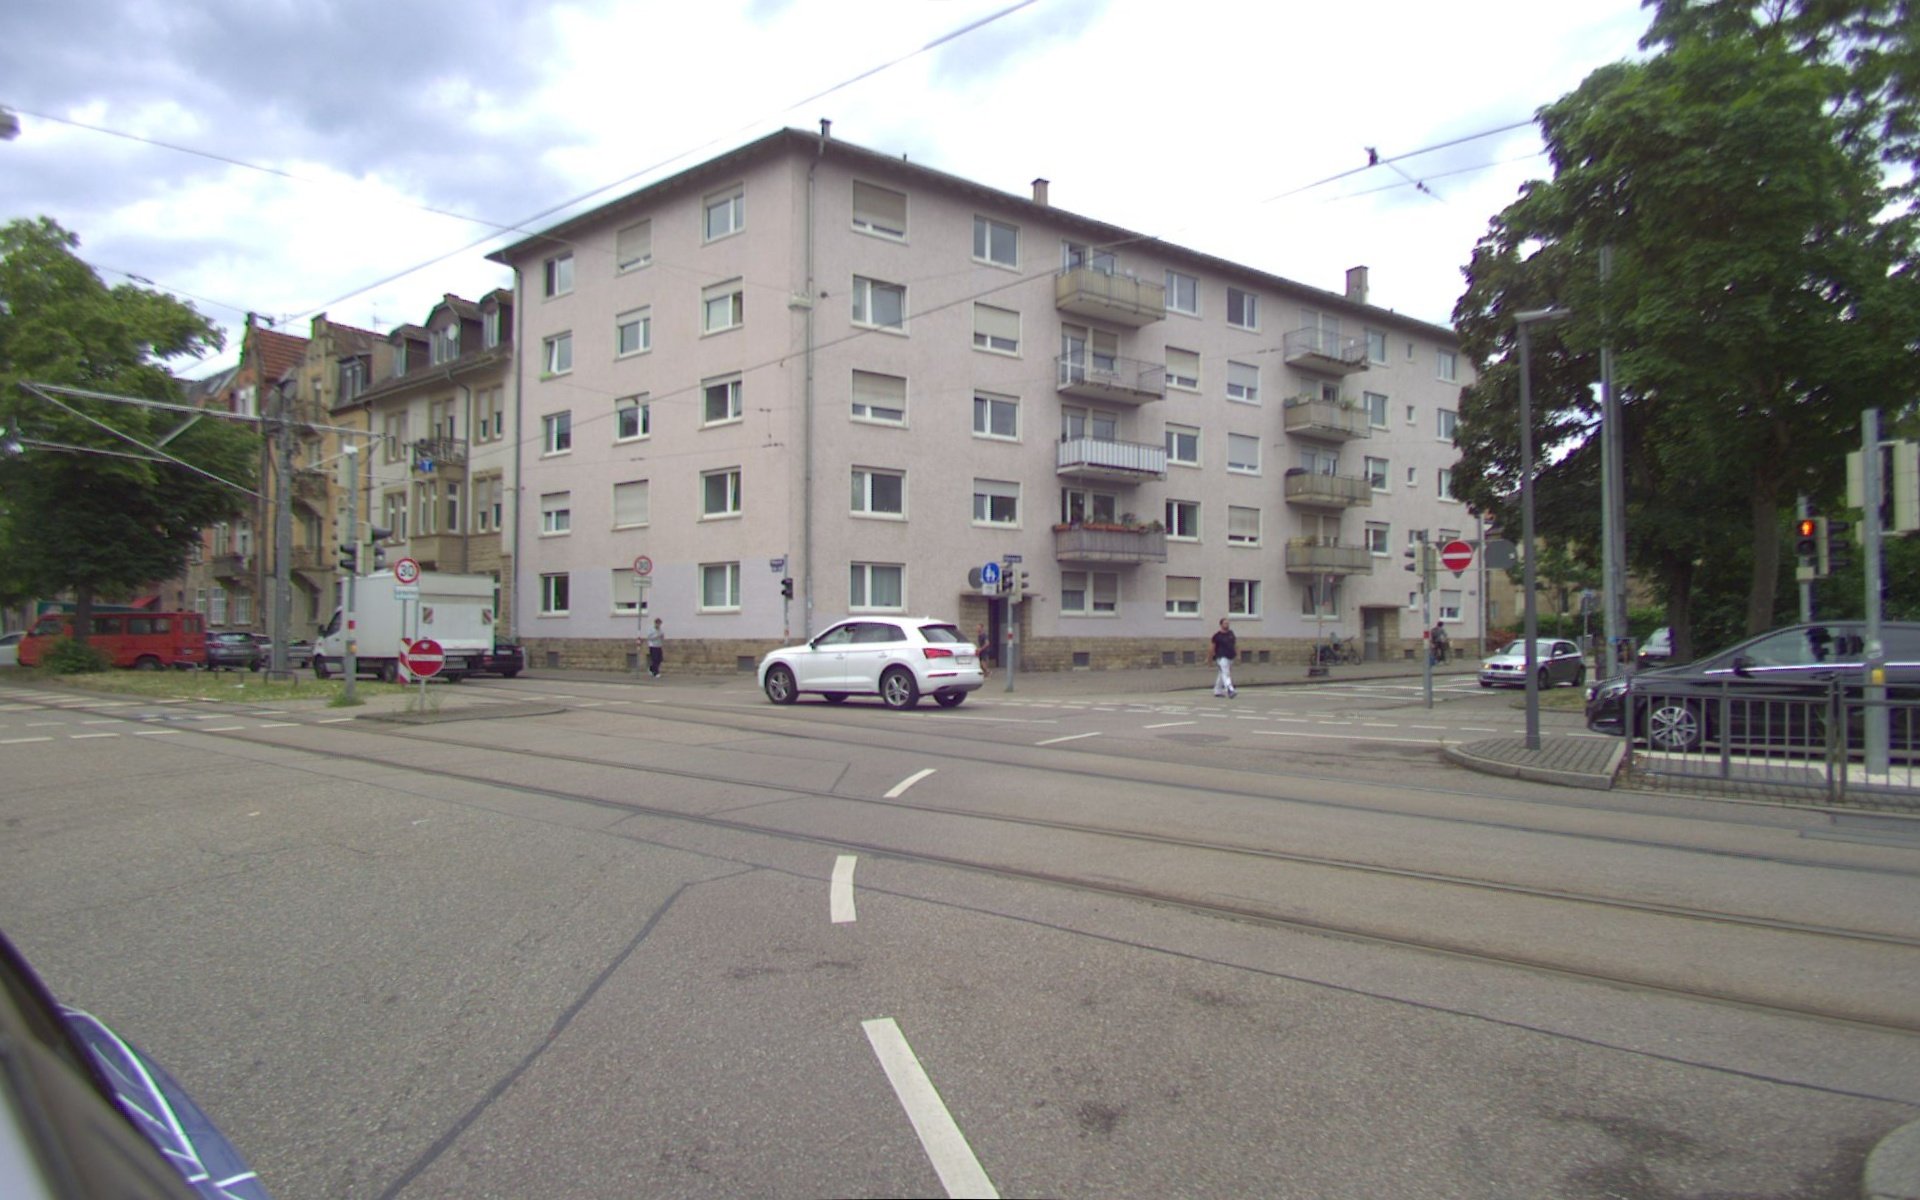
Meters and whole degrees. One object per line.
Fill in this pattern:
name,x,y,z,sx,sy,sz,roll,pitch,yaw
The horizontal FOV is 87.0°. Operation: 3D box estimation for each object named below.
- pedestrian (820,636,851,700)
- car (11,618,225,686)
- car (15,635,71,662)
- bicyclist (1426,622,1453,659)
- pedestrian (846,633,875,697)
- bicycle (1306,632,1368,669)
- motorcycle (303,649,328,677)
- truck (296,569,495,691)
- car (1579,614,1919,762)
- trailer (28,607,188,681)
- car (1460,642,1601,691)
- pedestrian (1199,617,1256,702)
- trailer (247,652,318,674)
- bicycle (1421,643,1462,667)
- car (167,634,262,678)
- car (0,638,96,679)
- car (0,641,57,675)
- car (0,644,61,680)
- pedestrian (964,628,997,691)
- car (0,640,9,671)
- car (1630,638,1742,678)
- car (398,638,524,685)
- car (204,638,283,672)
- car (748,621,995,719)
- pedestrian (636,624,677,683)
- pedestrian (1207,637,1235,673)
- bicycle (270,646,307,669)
pedestrian,-3.140,1.708,25.539,0.562,1.569,0.534,2,-4,-41
car,-26.093,1.600,31.551,4.687,1.989,1.965,1,-3,-15
car,-58.737,3.095,64.811,4.544,1.639,1.725,-1,-2,36
bicyclist,20.493,1.730,43.242,0.846,1.576,0.660,1,-3,-33
pedestrian,-2.466,1.610,25.127,0.565,1.569,0.531,-1,-3,14
bicycle,15.758,2.097,42.220,2.847,1.477,0.885,1,-3,-33
motorcycle,-26.035,2.531,40.866,0.699,1.046,2.235,2,-3,-37
truck,-16.457,0.877,29.299,7.317,3.181,2.165,-1,-3,36
car,9.651,0.931,11.393,4.524,1.504,1.756,-1,-2,33
trailer,-28.494,1.468,33.984,3.607,2.362,1.937,1,-3,-21
car,16.895,1.922,29.943,3.969,1.364,2.005,2,-3,-33
pedestrian,6.146,1.356,23.307,0.821,1.889,1.049,1,-3,-18
trailer,-28.413,2.638,42.397,3.069,0.899,1.442,-2,-4,35
bicycle,20.602,2.350,43.290,1.932,1.010,0.658,1,-3,-33
car,-28.038,2.061,38.026,4.122,1.546,1.630,-1,-2,35
car,-34.975,2.163,37.768,3.800,1.474,1.693,0,-2,-11
car,-42.813,2.521,44.221,4.609,1.446,1.904,0,-2,-14
car,-39.878,2.532,41.382,4.269,1.446,1.903,0,-2,-11
pedestrian,0.614,1.761,30.190,0.711,1.827,0.685,2,-3,-38
car,-48.763,2.686,48.672,4.049,1.495,1.801,0,-2,-13
car,26.464,2.074,36.868,3.969,1.364,2.005,2,-3,-33
car,-16.309,1.961,32.987,4.751,1.454,1.620,-2,-3,35
car,-31.963,2.431,45.125,3.914,1.454,1.620,-2,-3,35
car,-1.721,1.247,19.045,4.523,1.651,1.756,-1,-2,33
pedestrian,-9.319,1.627,31.097,0.898,1.780,0.790,-2,-3,35
pedestrian,9.457,1.987,36.656,0.719,1.298,0.692,2,-3,-38
bicycle,-32.535,2.782,49.034,2.254,1.081,0.704,-2,-3,35
